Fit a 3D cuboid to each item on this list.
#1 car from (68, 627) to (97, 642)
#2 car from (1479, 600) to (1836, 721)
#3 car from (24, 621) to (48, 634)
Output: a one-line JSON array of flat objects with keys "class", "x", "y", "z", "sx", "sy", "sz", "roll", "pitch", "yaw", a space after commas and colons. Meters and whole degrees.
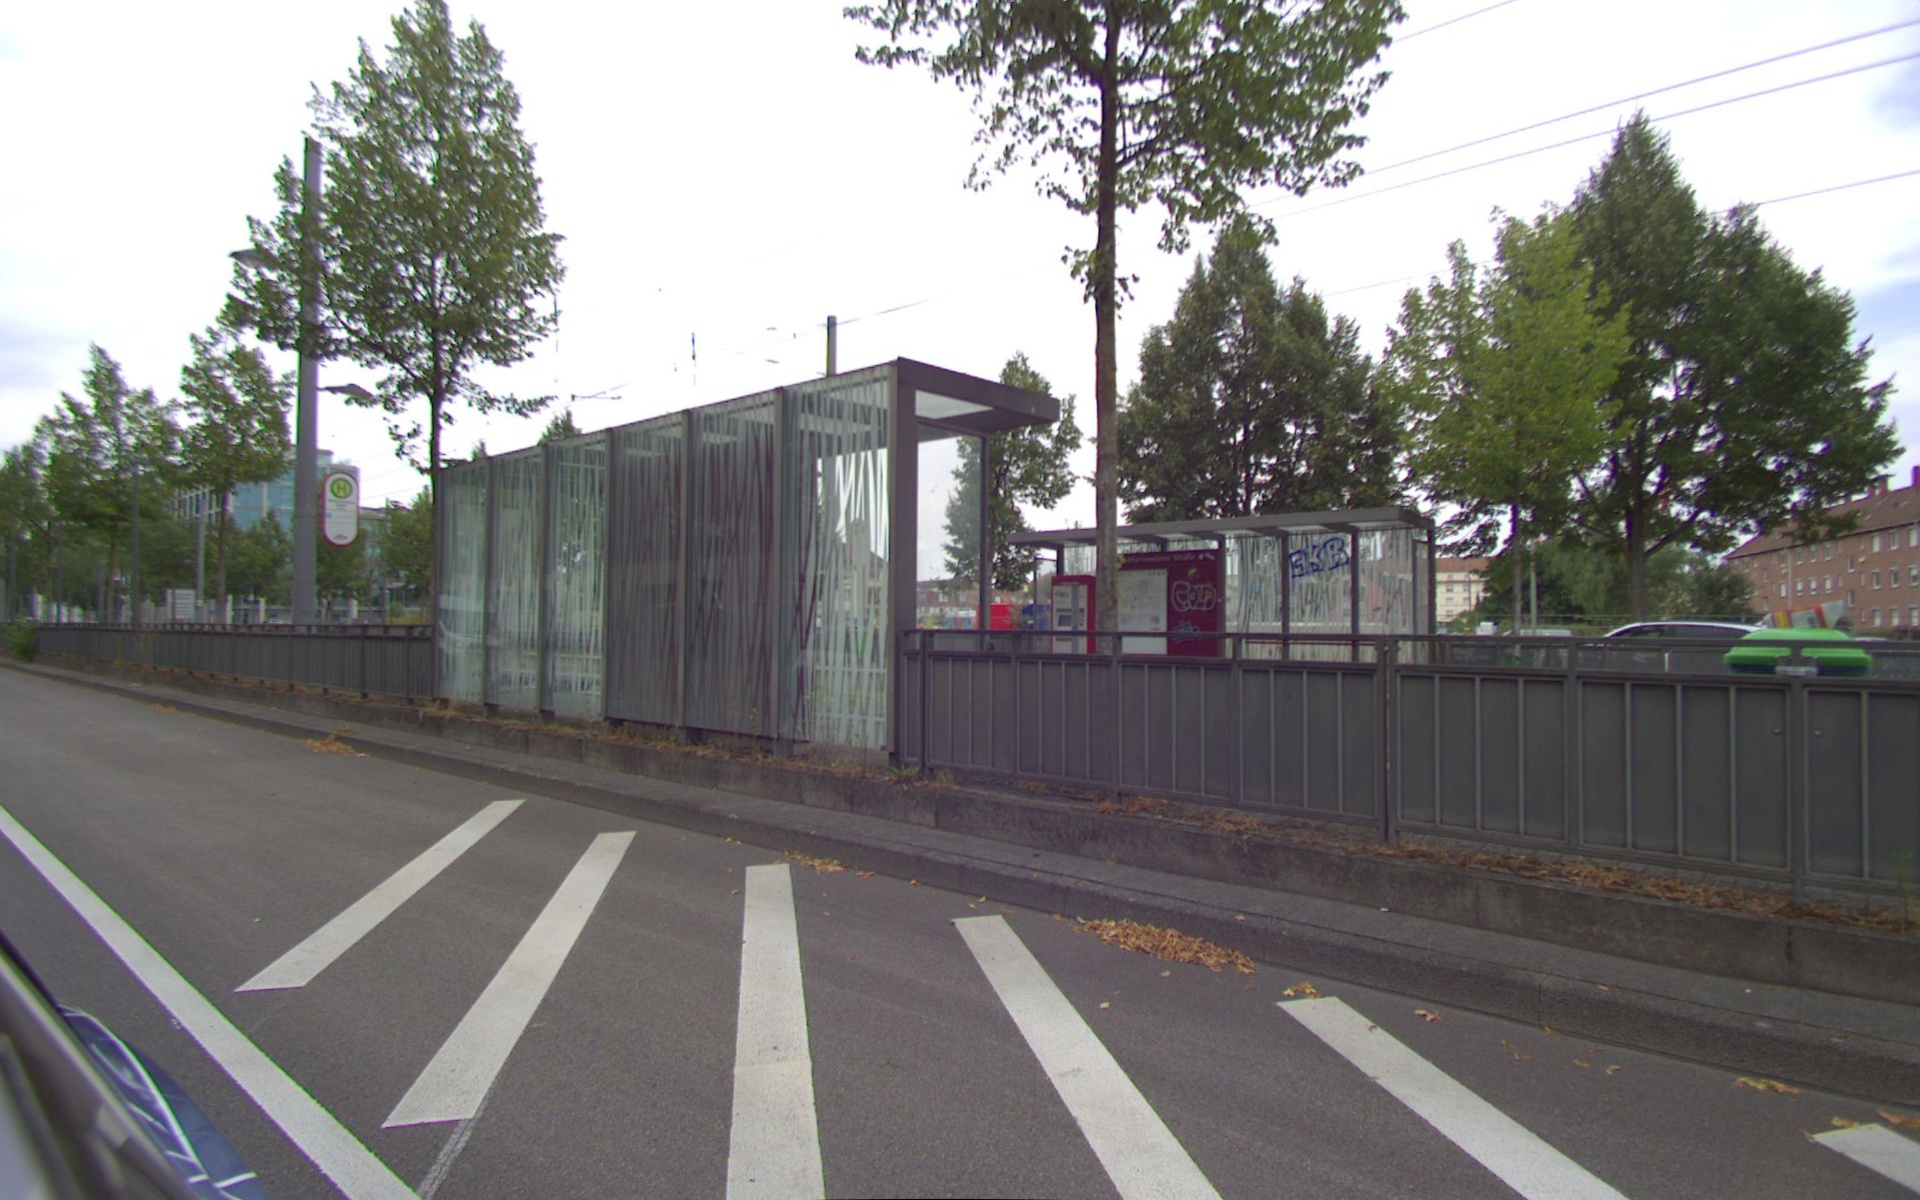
[{"class": "car", "x": -102.539, "y": 4.055, "z": 118.264, "sx": 4.686, "sy": 1.669, "sz": 1.809, "roll": -2, "pitch": -2, "yaw": 39}, {"class": "car", "x": 10.799, "y": 0.892, "z": 15.866, "sx": 4.383, "sy": 1.630, "sz": 1.972, "roll": -2, "pitch": -3, "yaw": 42}, {"class": "car", "x": -134.429, "y": 4.001, "z": 147.240, "sx": 5.092, "sy": 1.959, "sz": 1.973, "roll": -2, "pitch": -3, "yaw": 40}]
